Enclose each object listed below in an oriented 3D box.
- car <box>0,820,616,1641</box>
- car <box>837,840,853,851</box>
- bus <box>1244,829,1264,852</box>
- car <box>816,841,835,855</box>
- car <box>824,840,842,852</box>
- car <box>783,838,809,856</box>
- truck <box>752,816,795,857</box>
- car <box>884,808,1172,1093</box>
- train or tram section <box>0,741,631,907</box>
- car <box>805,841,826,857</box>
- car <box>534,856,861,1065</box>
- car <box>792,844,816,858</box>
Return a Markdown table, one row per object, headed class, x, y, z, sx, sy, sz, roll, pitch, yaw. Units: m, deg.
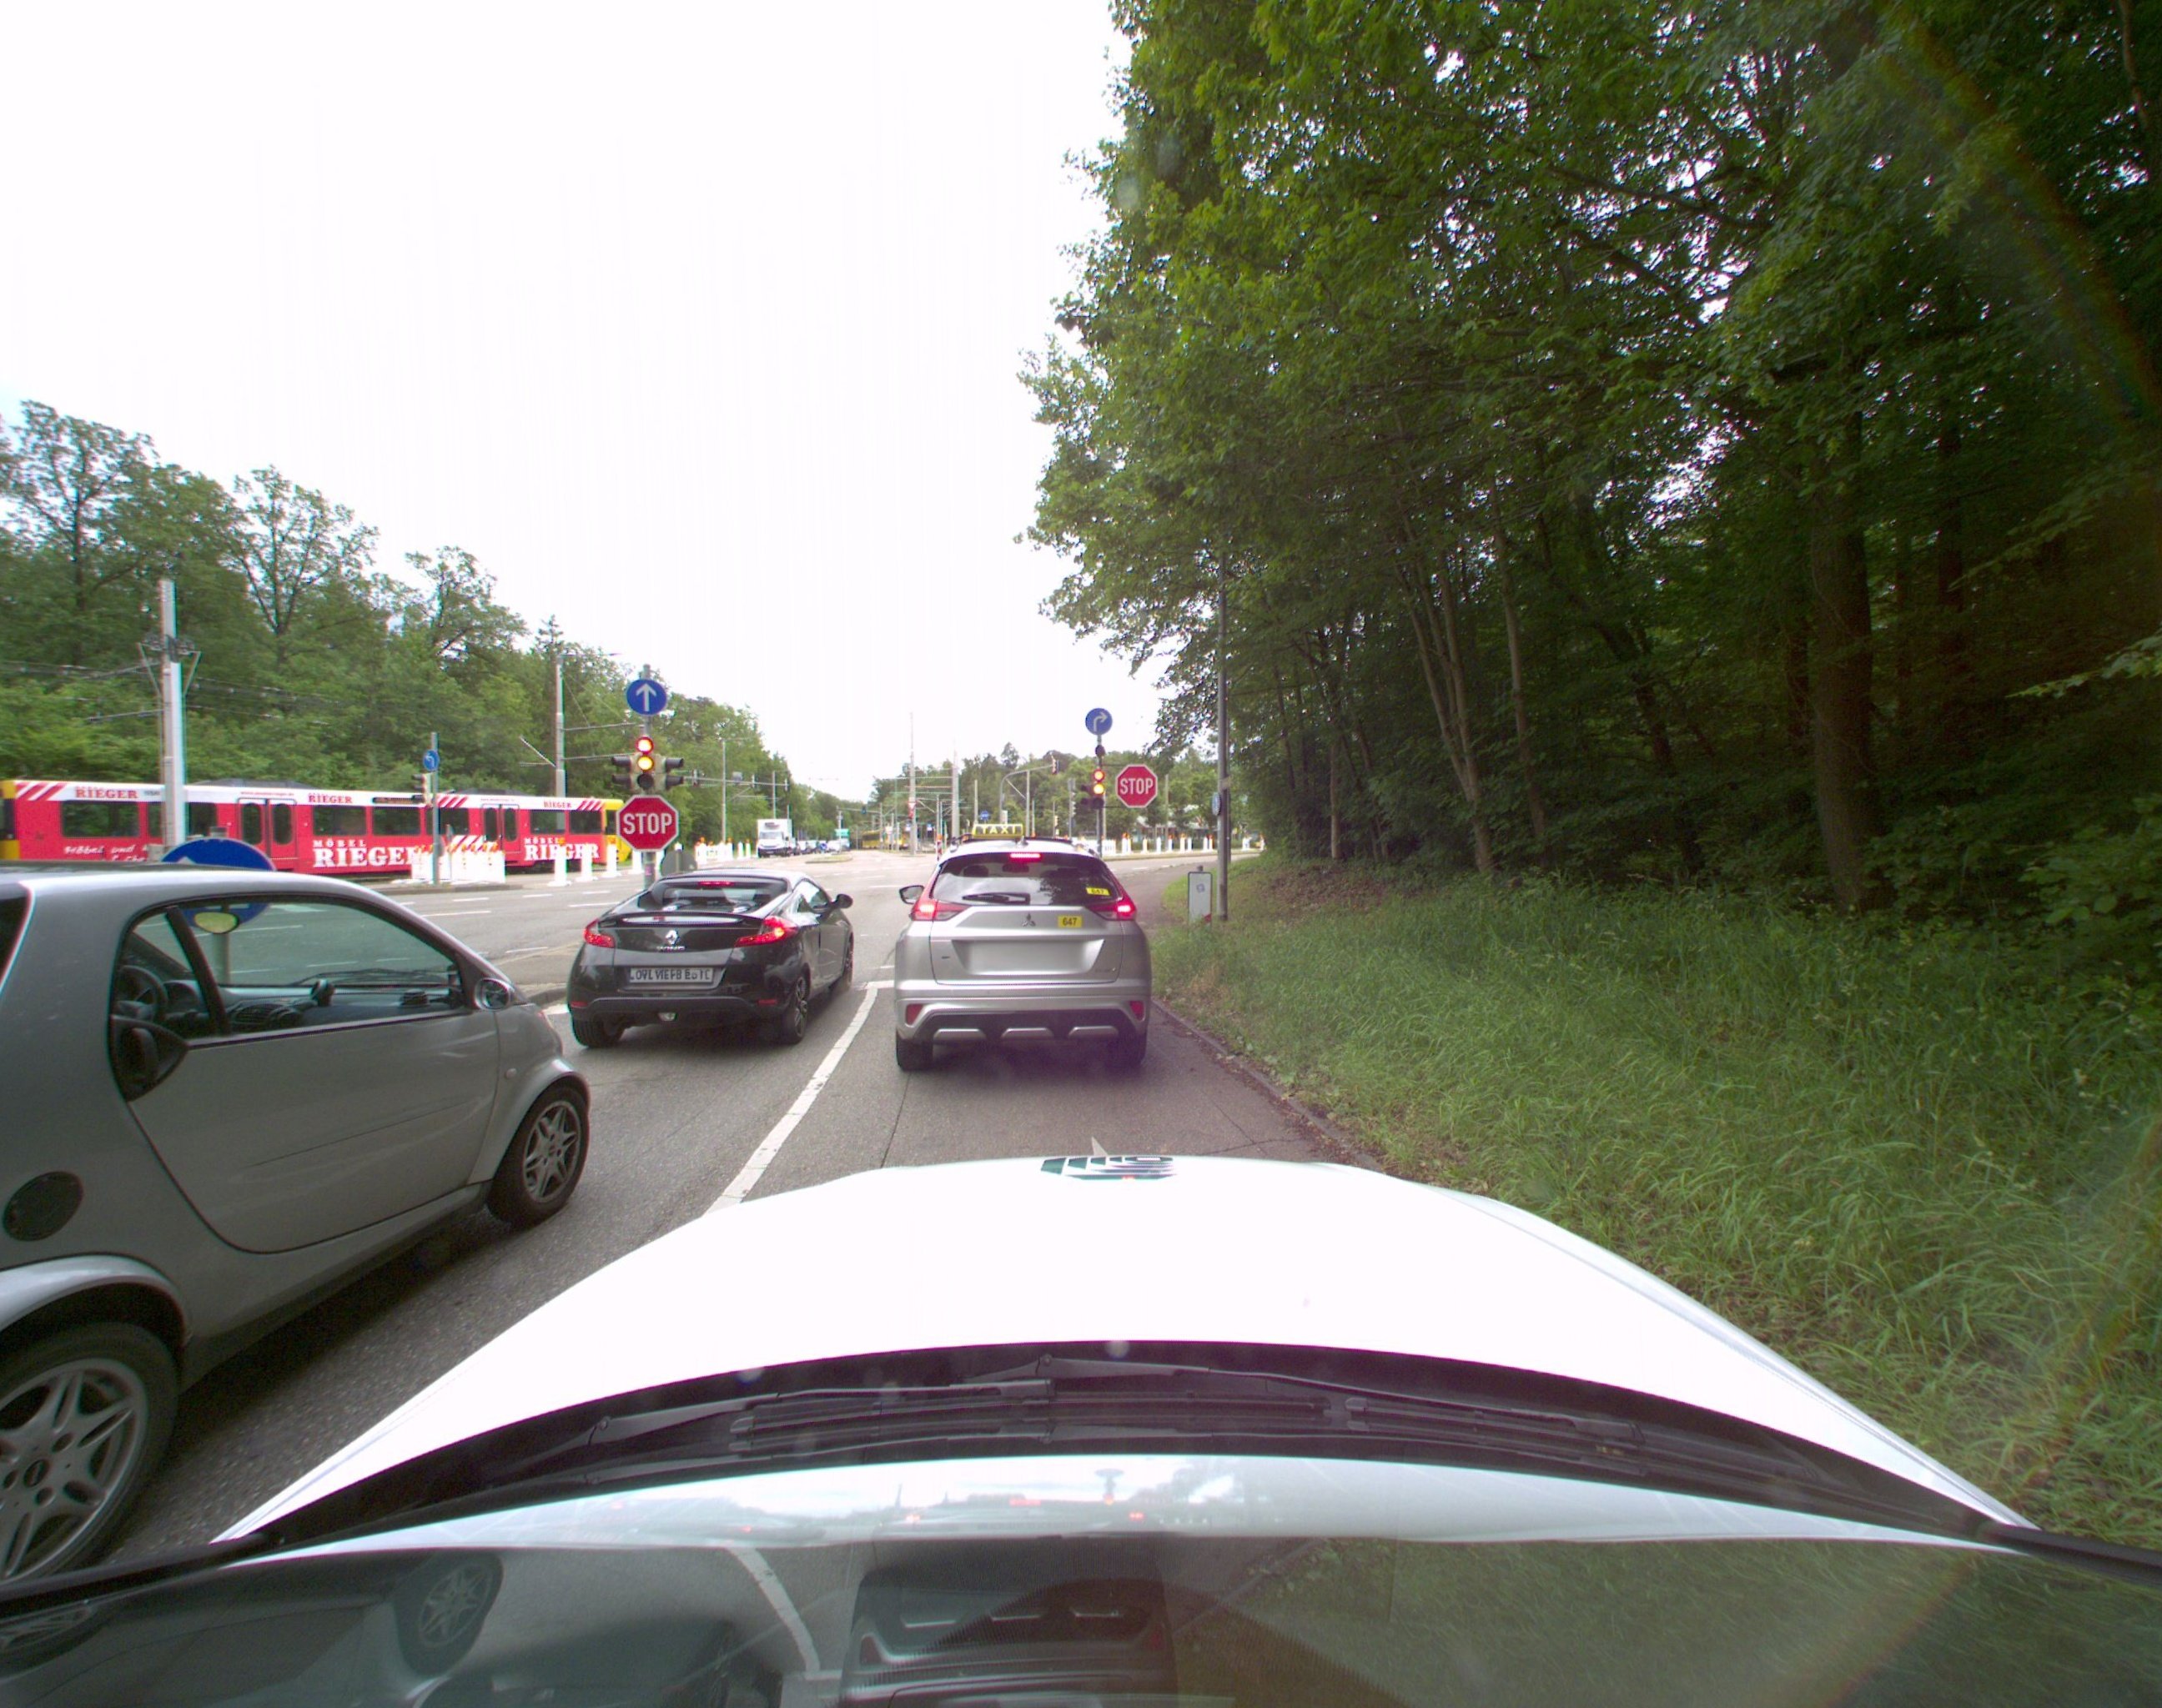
| class | x | y | z | sx | sy | sz | roll | pitch | yaw |
| --- | --- | --- | --- | --- | --- | --- | --- | --- | --- |
| car | -2.902 | 0.729 | 2.523 | 1.455 | 1.586 | 2.724 | -1 | 1 | -4 |
| car | -35.086 | -1.276 | 121.115 | 1.964 | 1.540 | 4.291 | -1 | 1 | -13 |
| bus | 28.559 | -2.296 | 135.158 | 2.804 | 3.602 | 12.841 | 0 | 1 | 10 |
| car | -31.956 | -0.783 | 102.082 | 1.964 | 1.607 | 4.291 | -1 | 1 | -13 |
| car | -32.767 | -1.025 | 107.834 | 1.964 | 1.541 | 4.376 | -1 | 1 | -13 |
| car | -27.871 | -0.697 | 79.876 | 1.965 | 1.749 | 4.823 | -1 | 1 | -14 |
| truck | -25.532 | -1.414 | 67.878 | 2.452 | 3.224 | 7.121 | -2 | 1 | -14 |
| car | -0.520 | 0.580 | 6.967 | 1.772 | 1.748 | 3.772 | 1 | 1 | -7 |
| train or tram section | -27.317 | -0.788 | 31.859 | 2.919 | 4.650 | 18.654 | -1 | -1 | 26 |
| car | -31.297 | -0.609 | 95.999 | 1.964 | 1.844 | 4.669 | -1 | 1 | -13 |
| car | -3.188 | 0.755 | 7.562 | 1.773 | 1.361 | 3.466 | -1 | 1 | -9 |
| car | -29.804 | -0.365 | 87.748 | 1.964 | 1.361 | 4.669 | -1 | 1 | -13 |
